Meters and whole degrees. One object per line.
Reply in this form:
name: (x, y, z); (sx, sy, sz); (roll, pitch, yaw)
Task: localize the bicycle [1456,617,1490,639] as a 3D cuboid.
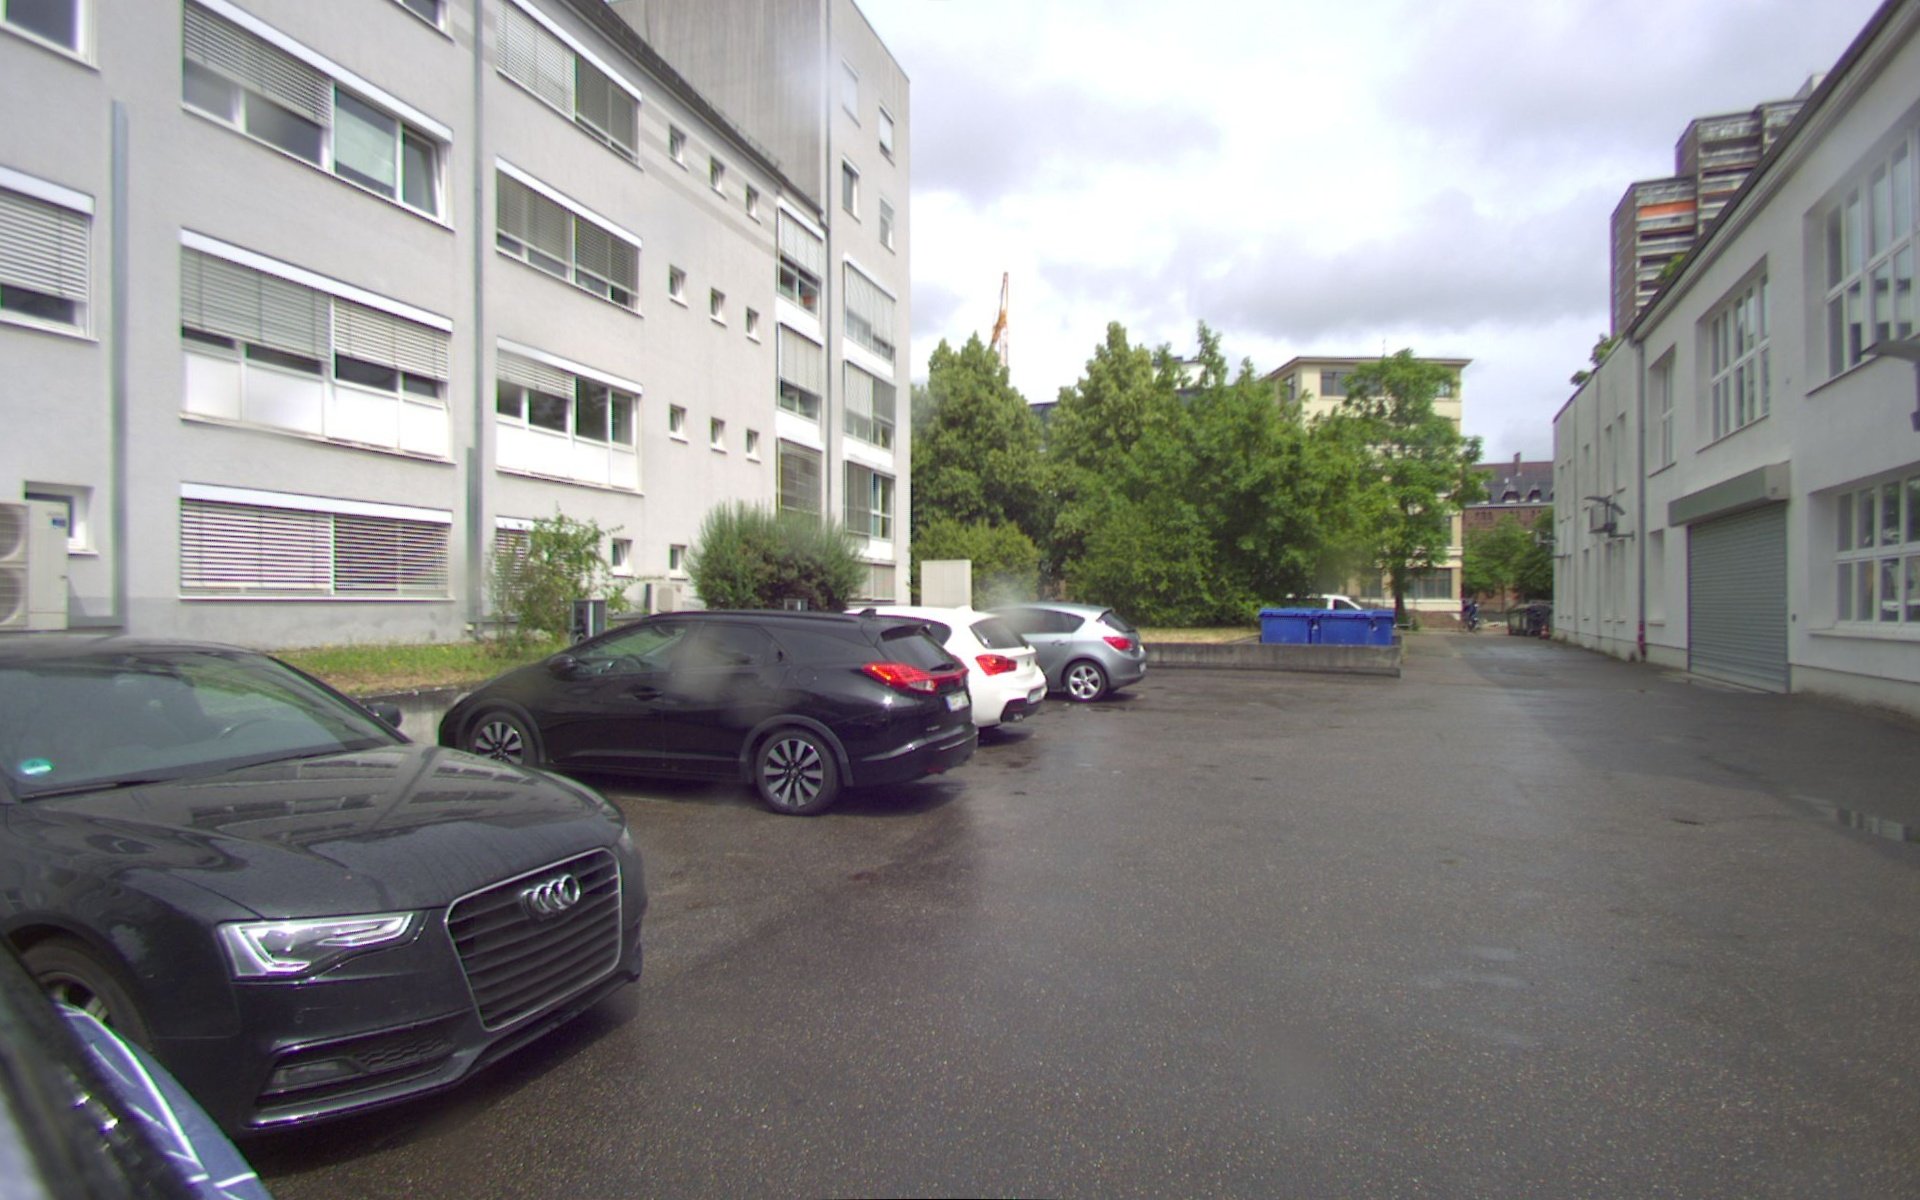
bicycle: (26.793, 1.458, 52.842); (1.683, 1.046, 0.544); (-1, 0, -17)

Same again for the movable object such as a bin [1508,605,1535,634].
movable object such as a bin: (27.036, 0.937, 48.735); (1.061, 1.366, 1.253); (-1, 0, 27)

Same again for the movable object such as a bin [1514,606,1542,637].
movable object such as a bin: (25.858, 0.957, 46.078); (1.041, 1.366, 1.197); (-1, 0, 27)

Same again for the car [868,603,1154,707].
car: (0.841, 0.808, 16.176); (4.280, 1.453, 1.753); (1, 0, 18)

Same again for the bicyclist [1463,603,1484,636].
bicyclist: (26.789, 1.030, 52.842); (0.745, 1.691, 0.594); (-1, 0, -17)

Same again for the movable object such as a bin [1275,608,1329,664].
movable object such as a bin: (8.569, 0.890, 25.318); (1.126, 1.338, 1.197); (-1, 0, 27)

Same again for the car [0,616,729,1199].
car: (-3.268, 0.785, 3.722); (4.493, 1.362, 1.752); (1, 0, 19)

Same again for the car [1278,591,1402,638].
car: (14.742, 0.574, 39.297); (4.316, 1.740, 1.706); (-1, 0, 29)

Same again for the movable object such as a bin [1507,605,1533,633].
movable object such as a bin: (27.629, 0.927, 49.958); (1.061, 1.366, 1.253); (-1, 0, 27)

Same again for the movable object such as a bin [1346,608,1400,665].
movable object such as a bin: (10.098, 0.879, 24.709); (1.126, 1.338, 1.197); (-1, 0, 27)

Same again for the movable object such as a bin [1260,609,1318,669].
movable object such as a bin: (7.757, 0.904, 23.833); (1.126, 1.338, 1.197); (-1, 0, 27)

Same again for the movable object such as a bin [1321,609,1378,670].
movable object such as a bin: (8.975, 0.889, 23.291); (1.090, 1.335, 1.197); (-1, 0, 27)

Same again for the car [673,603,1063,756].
car: (-1.017, 0.785, 11.446); (4.093, 1.453, 1.686); (1, 0, 19)

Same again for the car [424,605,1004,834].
car: (-1.928, 0.793, 8.152); (4.279, 1.453, 1.753); (1, 0, 18)

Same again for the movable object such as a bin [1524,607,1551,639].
movable object such as a bin: (25.329, 1.001, 44.385); (0.974, 1.366, 0.911); (-1, 0, 27)
